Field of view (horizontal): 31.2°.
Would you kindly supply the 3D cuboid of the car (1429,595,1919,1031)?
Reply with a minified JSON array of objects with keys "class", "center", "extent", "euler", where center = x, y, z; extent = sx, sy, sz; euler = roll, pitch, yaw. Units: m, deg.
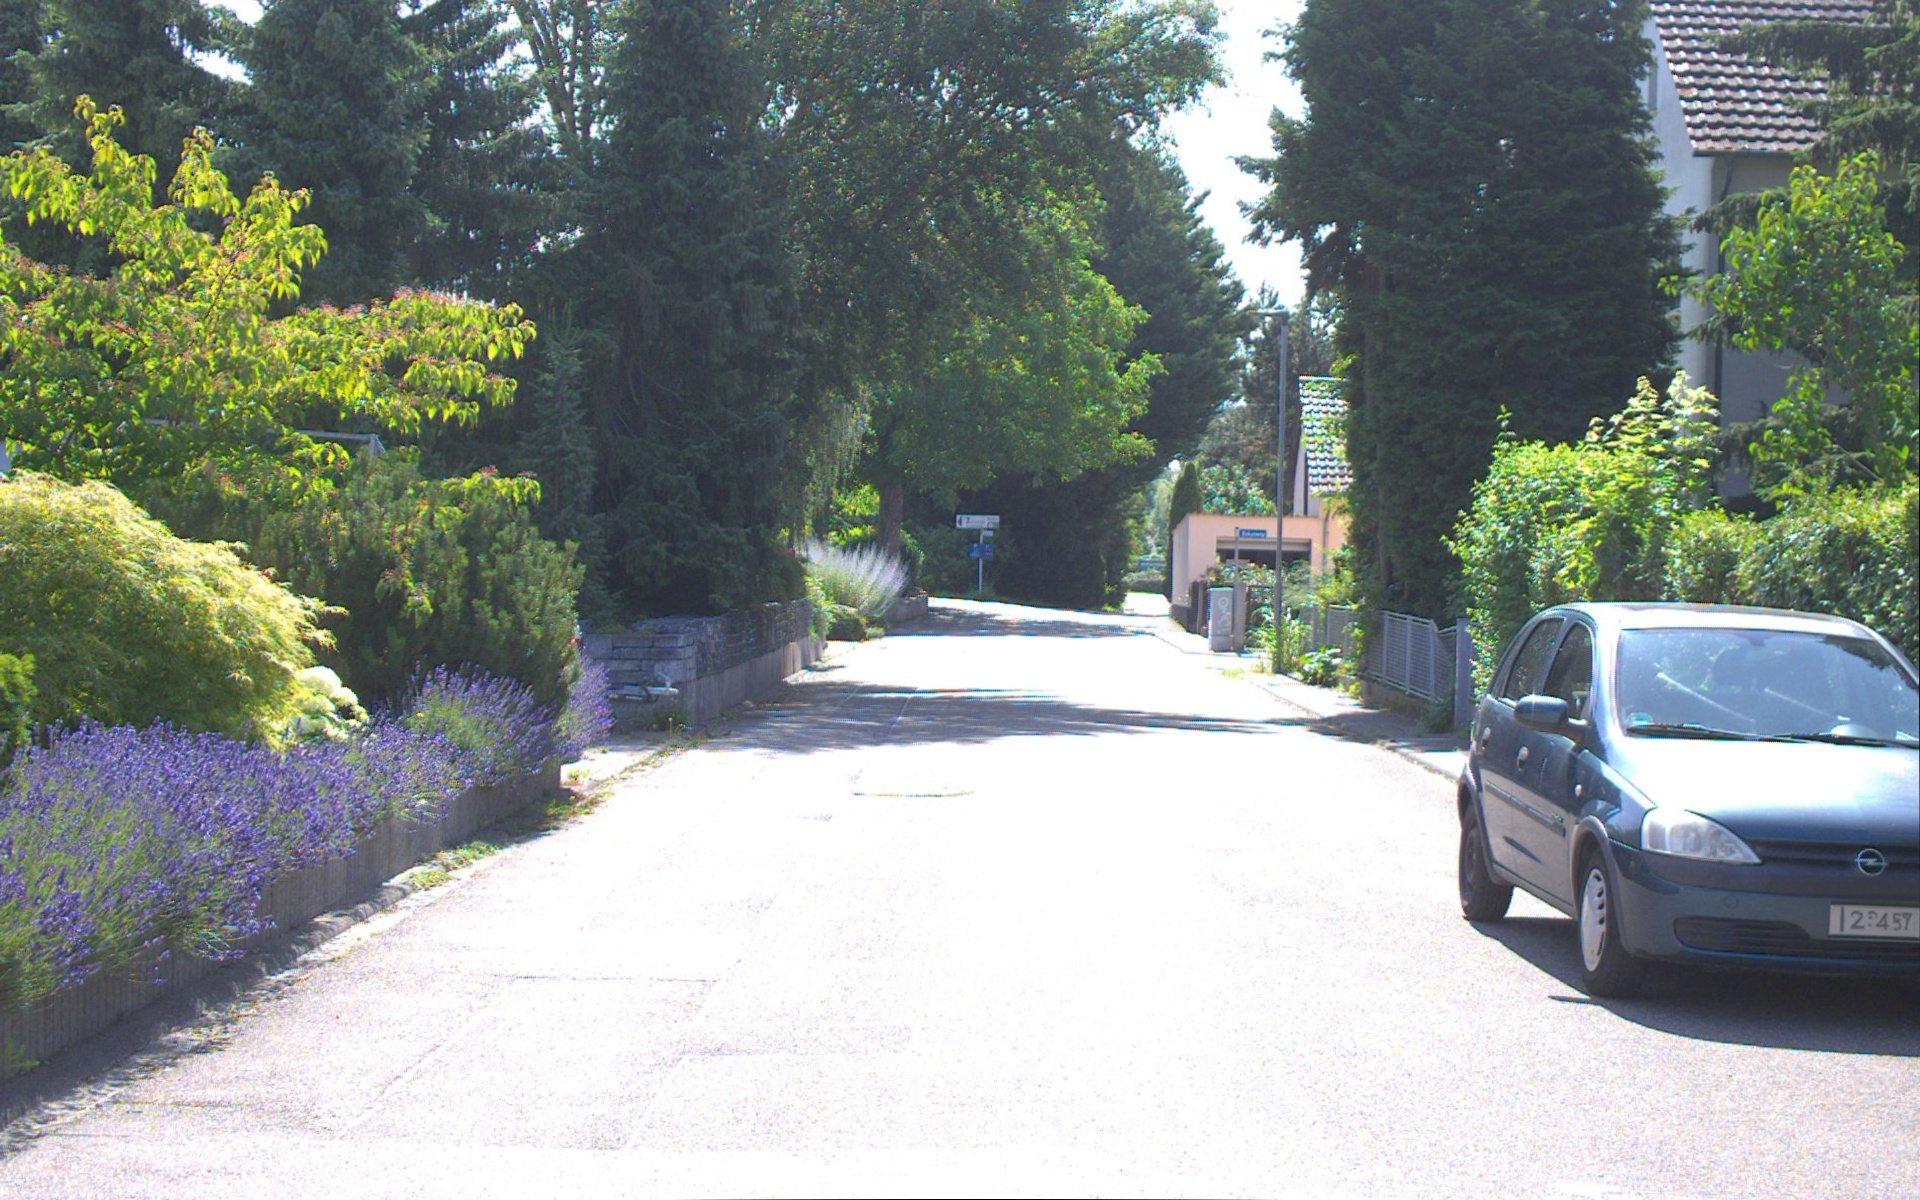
[{"class":"car","center":[3.028,0.733,13.636],"extent":[1.702,1.395,4.000],"euler":[3,0,0]}]
